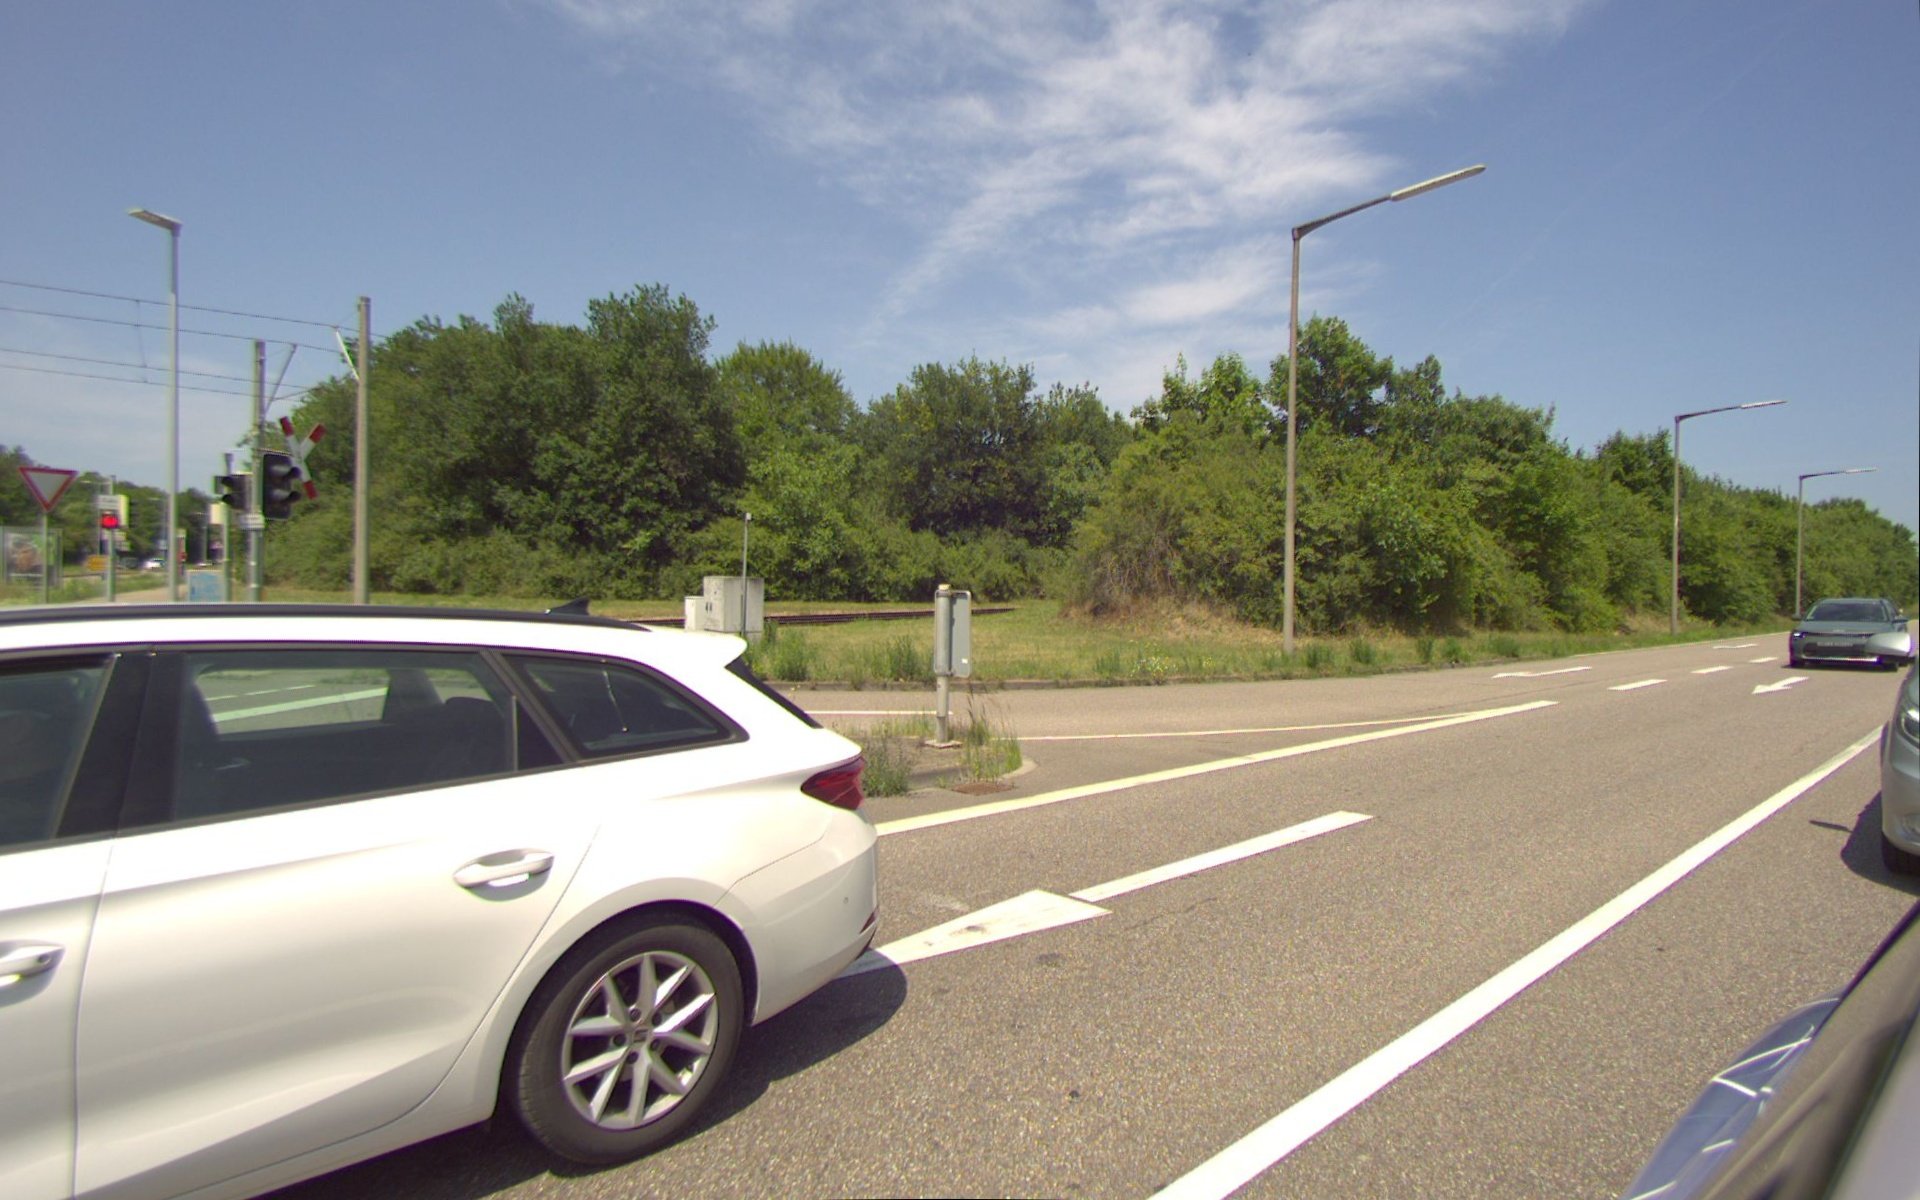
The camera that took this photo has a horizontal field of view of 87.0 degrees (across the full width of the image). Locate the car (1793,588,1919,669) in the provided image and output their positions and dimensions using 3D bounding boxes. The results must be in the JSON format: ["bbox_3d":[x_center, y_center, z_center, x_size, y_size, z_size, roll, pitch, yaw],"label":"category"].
[{"bbox_3d":[20.210,0.589,22.598,3.928,1.616,1.723,0,1,-39],"label":"car"}]

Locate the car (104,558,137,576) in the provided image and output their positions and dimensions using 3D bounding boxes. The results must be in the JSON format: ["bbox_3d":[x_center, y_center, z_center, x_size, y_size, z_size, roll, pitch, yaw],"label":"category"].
[{"bbox_3d":[-87.571,-3.439,105.620,1.960,1.812,4.005,1,1,-29],"label":"car"}]

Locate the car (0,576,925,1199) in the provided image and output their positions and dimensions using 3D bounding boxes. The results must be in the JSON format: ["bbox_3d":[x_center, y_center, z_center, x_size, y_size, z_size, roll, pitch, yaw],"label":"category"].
[{"bbox_3d":[-2.284,0.651,2.390,4.375,1.407,1.684,0,1,-43],"label":"car"}]

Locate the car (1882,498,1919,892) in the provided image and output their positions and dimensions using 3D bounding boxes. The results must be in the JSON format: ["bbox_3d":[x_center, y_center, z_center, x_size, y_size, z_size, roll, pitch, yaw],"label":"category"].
[{"bbox_3d":[7.287,0.473,6.093,5.631,1.900,1.875,0,1,-41],"label":"car"}]
